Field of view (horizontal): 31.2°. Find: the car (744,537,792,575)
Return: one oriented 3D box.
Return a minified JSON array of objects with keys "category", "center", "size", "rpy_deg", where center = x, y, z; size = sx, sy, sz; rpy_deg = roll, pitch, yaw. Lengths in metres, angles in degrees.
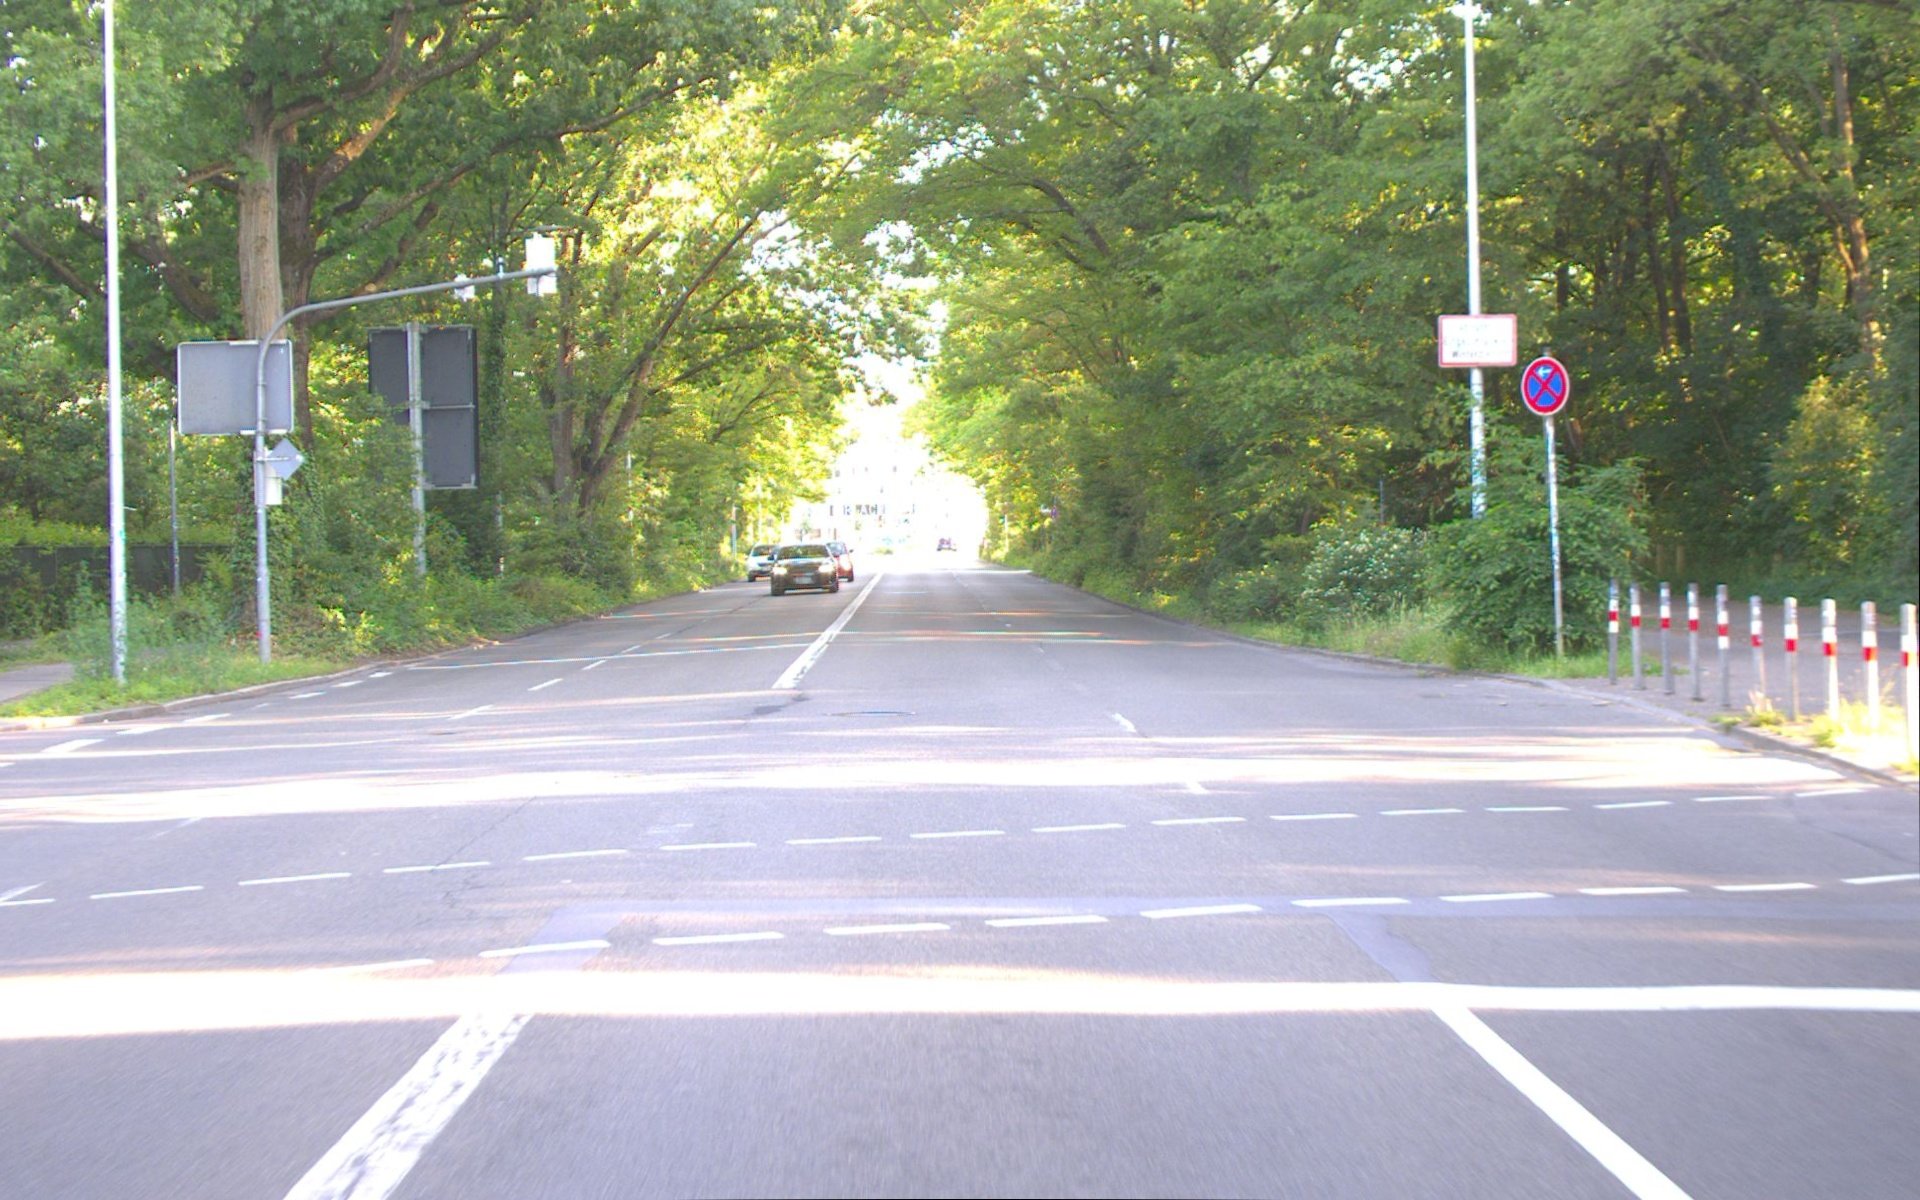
[{"category":"car","center":[-7.897,-1.823,141.759],"size":[1.797,1.501,4.365],"rpy_deg":[-2,1,-2]}]

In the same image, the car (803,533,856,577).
[{"category":"car","center":[-4.705,-1.632,124.331],"size":[1.797,1.501,4.365],"rpy_deg":[-2,1,-2]}]

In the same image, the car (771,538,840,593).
[{"category":"car","center":[-4.478,-1.019,100.338],"size":[1.887,1.501,4.365],"rpy_deg":[-2,1,-2]}]
